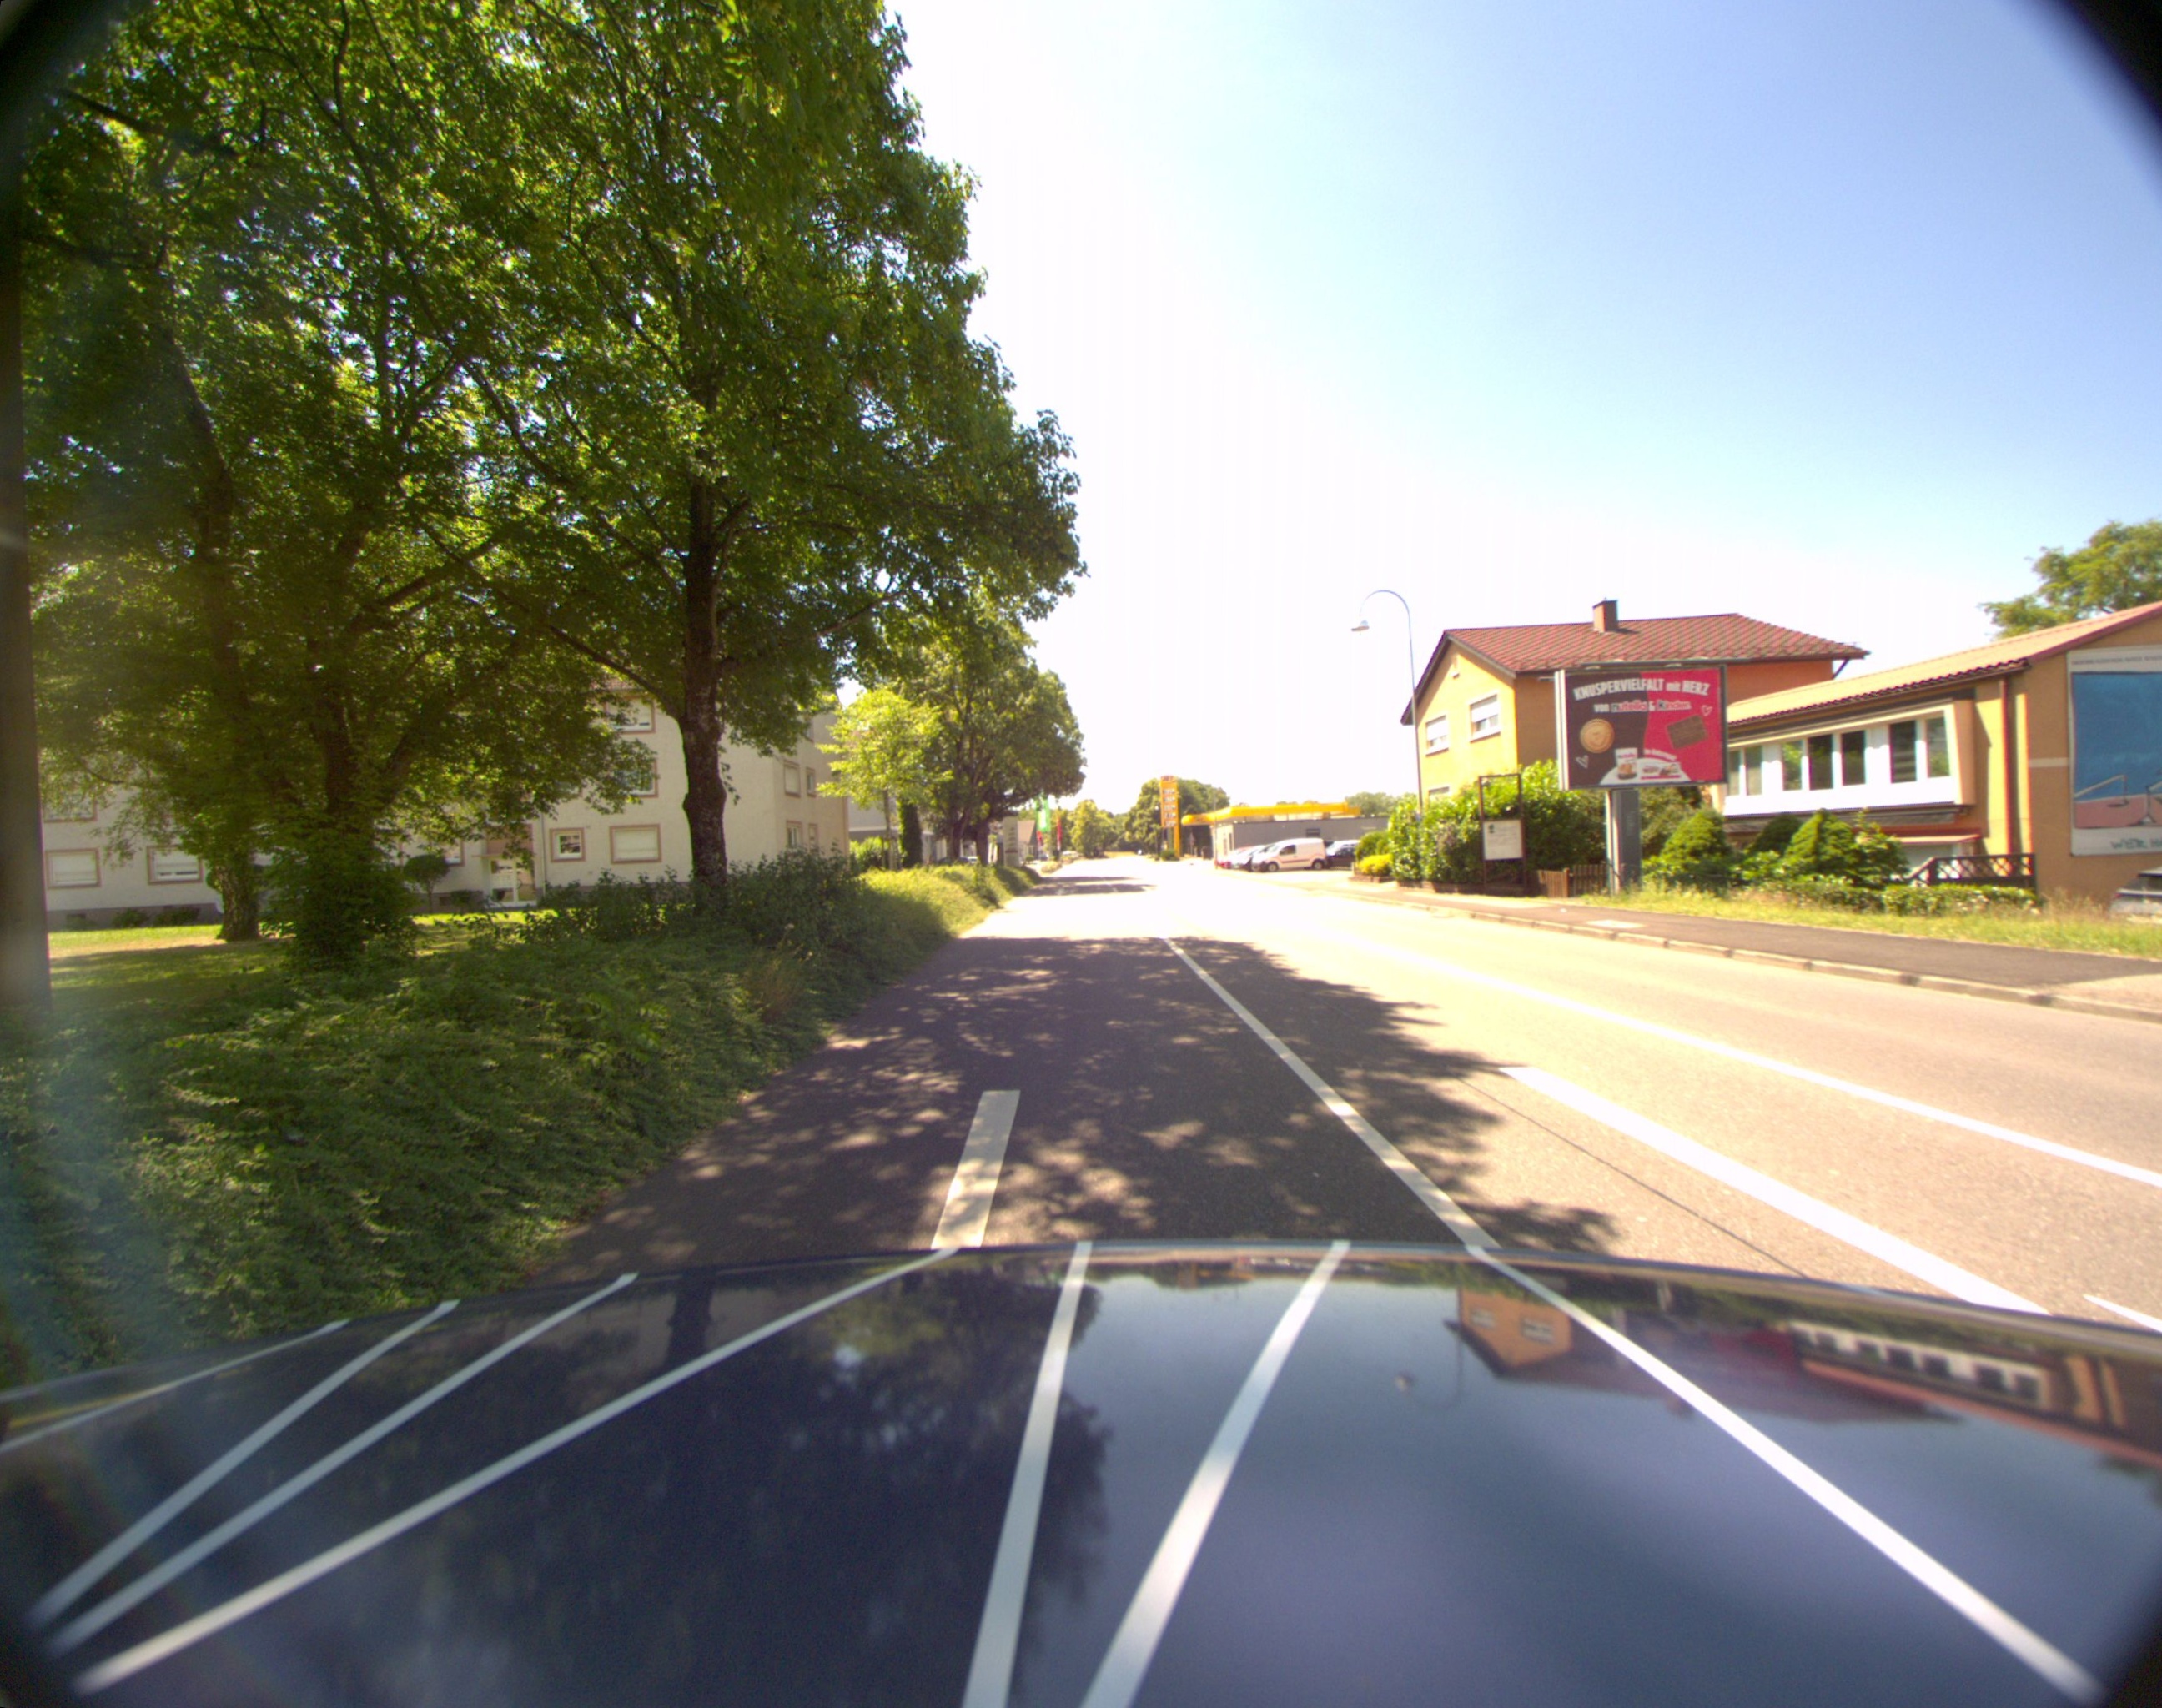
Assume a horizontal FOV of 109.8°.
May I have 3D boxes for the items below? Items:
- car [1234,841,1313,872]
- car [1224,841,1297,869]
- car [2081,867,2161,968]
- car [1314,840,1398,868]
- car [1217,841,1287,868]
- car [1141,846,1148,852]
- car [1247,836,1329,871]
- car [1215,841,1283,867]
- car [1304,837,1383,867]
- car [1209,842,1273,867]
[{"bbox_3d":[11.772,0.113,46.581,4.246,1.750,1.874,-2,1,-5],"label":"car"},{"bbox_3d":[12.047,0.056,51.068,4.402,1.750,1.874,-2,1,-5],"label":"car"},{"bbox_3d":[19.821,1.012,12.404,4.224,1.599,1.772,-1,1,7],"label":"car"},{"bbox_3d":[16.748,0.009,46.412,4.402,1.554,1.874,-2,1,-5],"label":"car"},{"bbox_3d":[12.024,0.017,53.438,4.402,1.750,1.874,-2,1,-5],"label":"car"},{"bbox_3d":[17.914,-1.512,215.025,1.808,1.552,4.065,-2,1,7],"label":"car"},{"bbox_3d":[12.056,-0.030,44.398,4.191,1.858,1.874,-2,1,-5],"label":"car"},{"bbox_3d":[12.241,0.025,55.472,4.402,1.750,1.874,-2,1,-5],"label":"car"},{"bbox_3d":[16.783,-0.133,48.663,4.402,1.815,1.874,-2,1,-5],"label":"car"},{"bbox_3d":[12.178,0.042,58.065,4.402,1.750,1.874,-2,1,-5],"label":"car"}]
